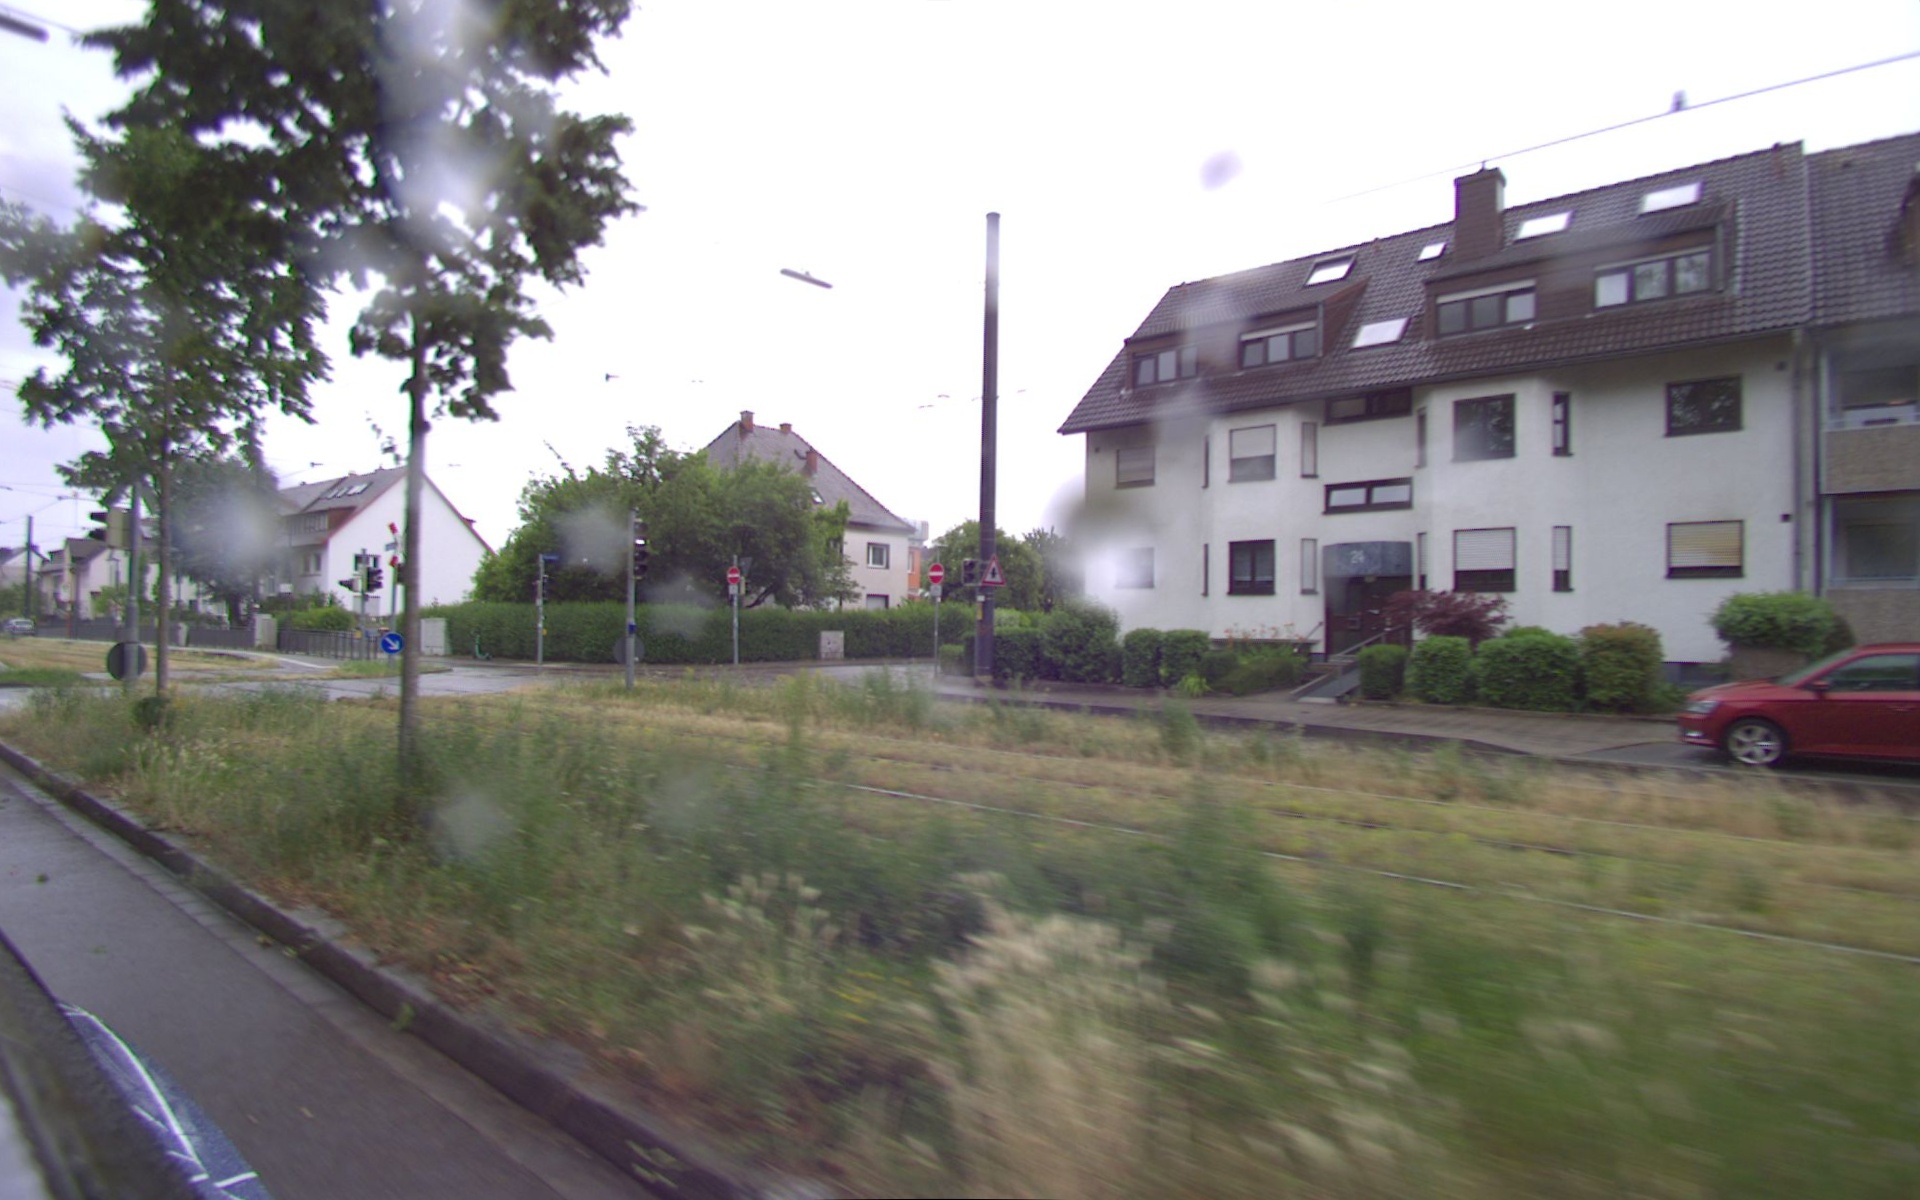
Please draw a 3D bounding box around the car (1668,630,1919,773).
[{"bbox_3d":[10.690,1.109,11.591,4.001,1.468,1.778,-2,-1,44],"label":"car"}]

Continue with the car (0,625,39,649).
[{"bbox_3d":[-81.267,3.212,87.255,3.991,2.029,1.976,-1,-3,36],"label":"car"}]

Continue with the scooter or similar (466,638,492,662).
[{"bbox_3d":[-18.560,1.933,39.033,1.256,0.917,0.343,-1,-3,36],"label":"scooter or similar"}]
